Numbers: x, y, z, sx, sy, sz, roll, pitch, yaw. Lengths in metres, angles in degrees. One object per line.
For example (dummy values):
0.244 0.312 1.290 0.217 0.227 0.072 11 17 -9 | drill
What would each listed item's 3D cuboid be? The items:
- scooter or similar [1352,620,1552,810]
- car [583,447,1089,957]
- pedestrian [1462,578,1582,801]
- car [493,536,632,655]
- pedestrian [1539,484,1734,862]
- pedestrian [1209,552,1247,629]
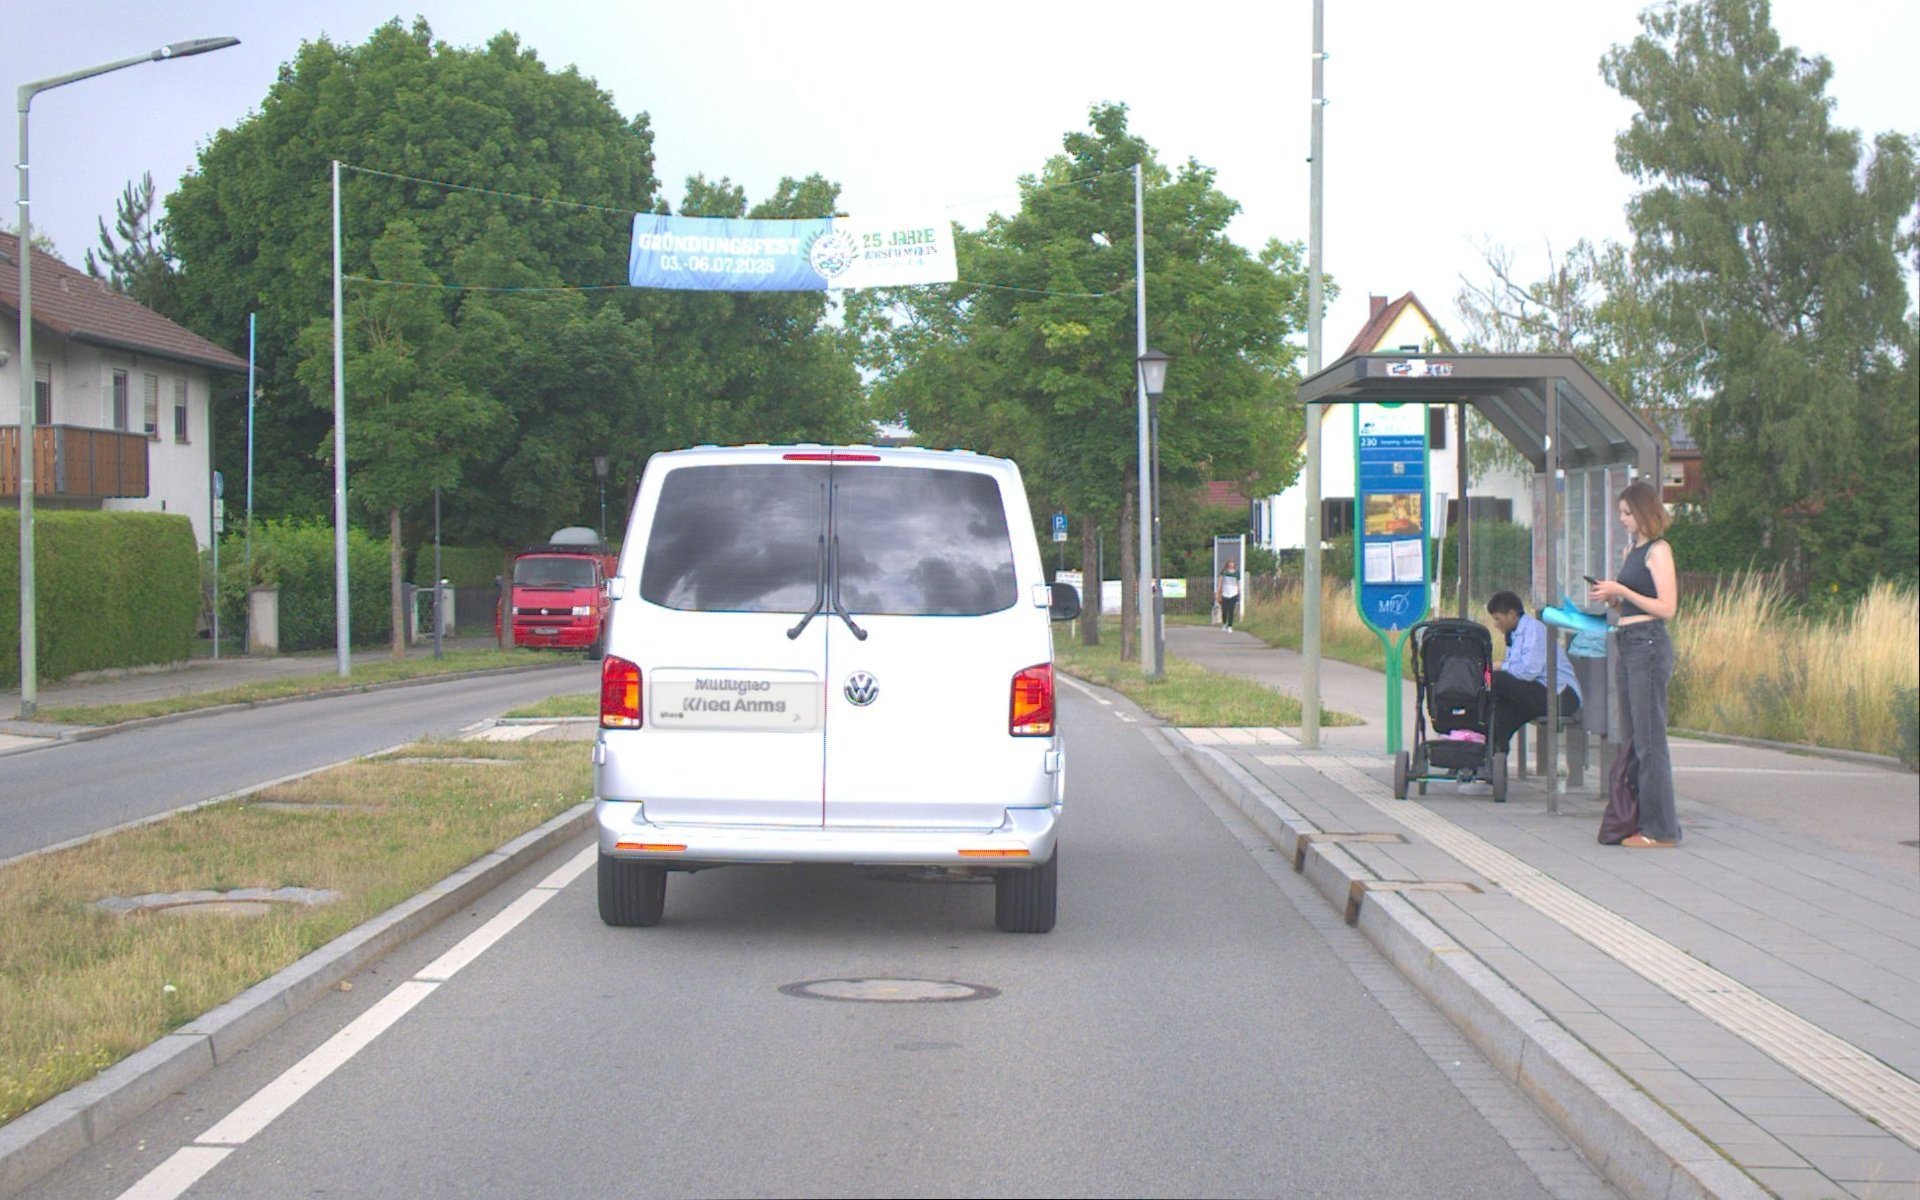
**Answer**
2.876 0.659 20.054 0.708 1.058 1.058 1 0 37 | scooter or similar
-0.490 0.379 14.964 1.888 1.905 4.000 1 0 -1 | car
3.365 0.528 20.595 0.665 1.298 0.505 2 0 9 | pedestrian
-7.157 -0.109 62.298 1.830 2.023 5.046 1 1 1 | car
3.306 0.348 16.867 0.781 1.786 0.779 2 0 3 | pedestrian
6.168 -0.223 79.043 0.837 1.749 0.869 1 0 5 | pedestrian
